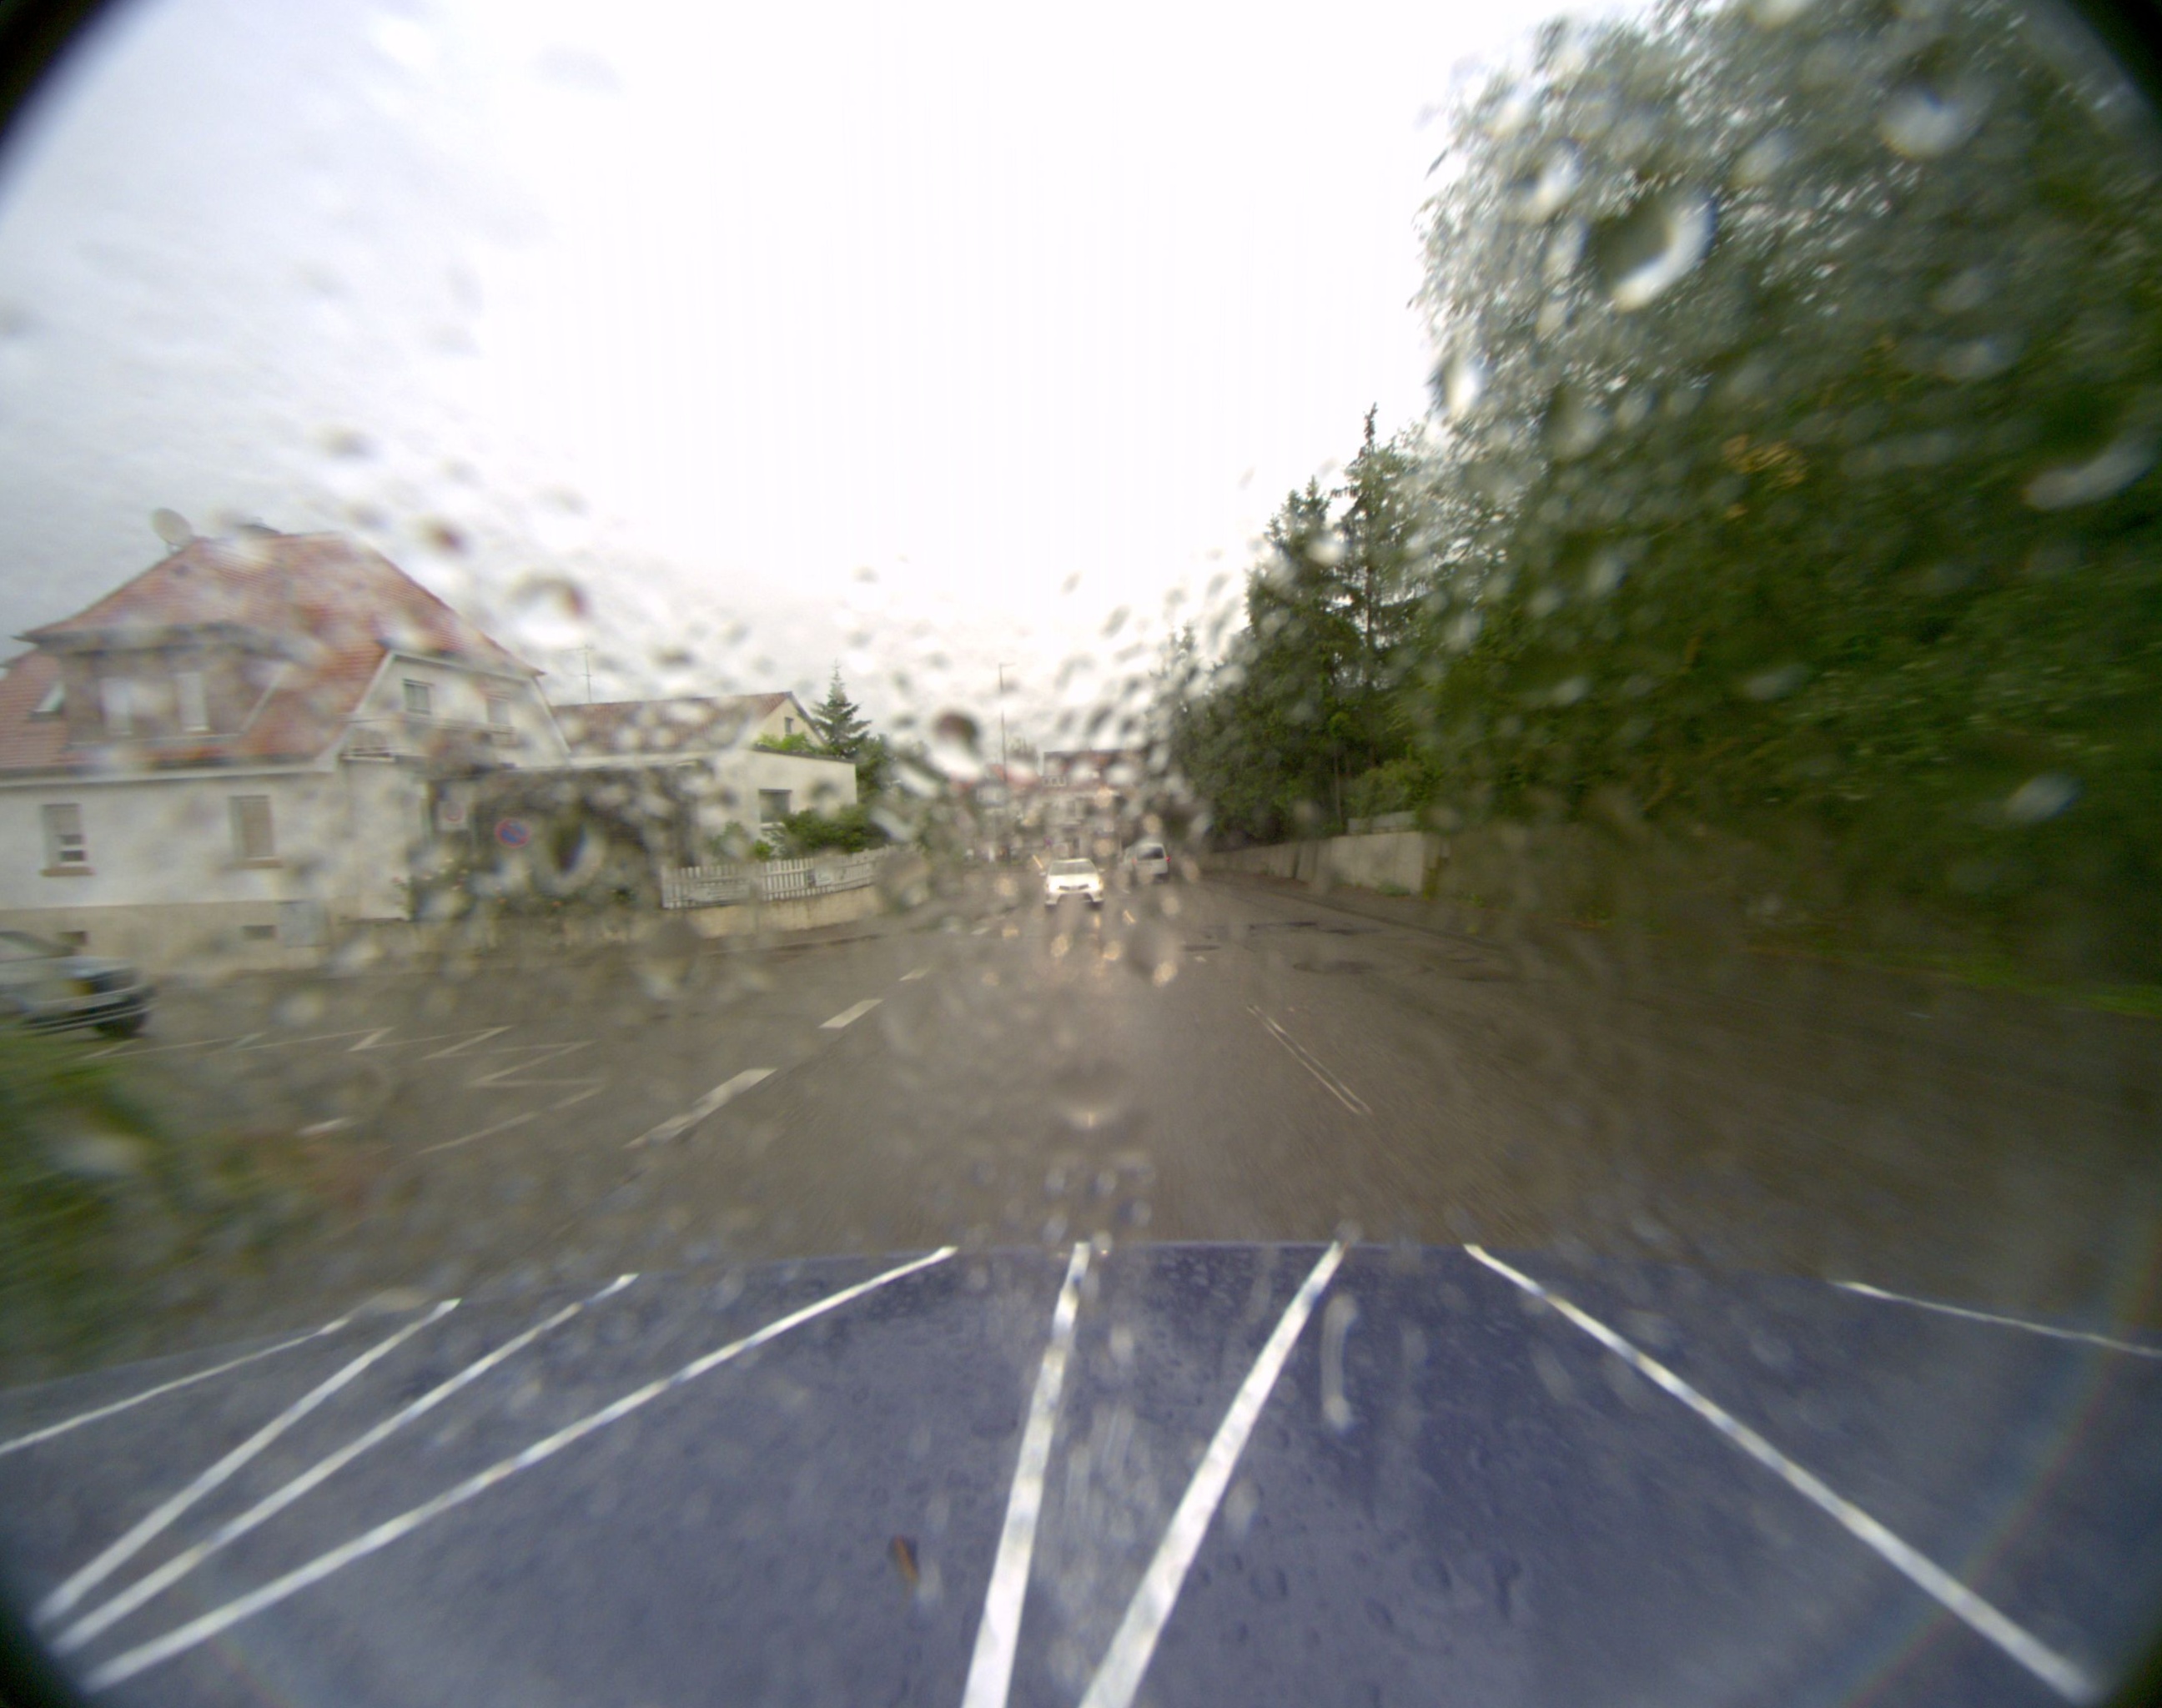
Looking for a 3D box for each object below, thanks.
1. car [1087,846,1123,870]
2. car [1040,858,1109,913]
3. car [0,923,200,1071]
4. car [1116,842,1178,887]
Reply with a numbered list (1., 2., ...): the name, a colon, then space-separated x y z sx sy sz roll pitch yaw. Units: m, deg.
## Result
1. car: 1.660 0.288 53.340 1.761 1.491 3.990 -4 1 -8
2. car: -0.147 0.897 23.479 1.863 1.370 4.181 -3 1 1
3. car: -14.275 1.824 9.533 4.178 1.492 1.864 -3 1 0
4. car: 3.001 0.445 35.457 2.114 1.863 4.178 -4 1 -5
